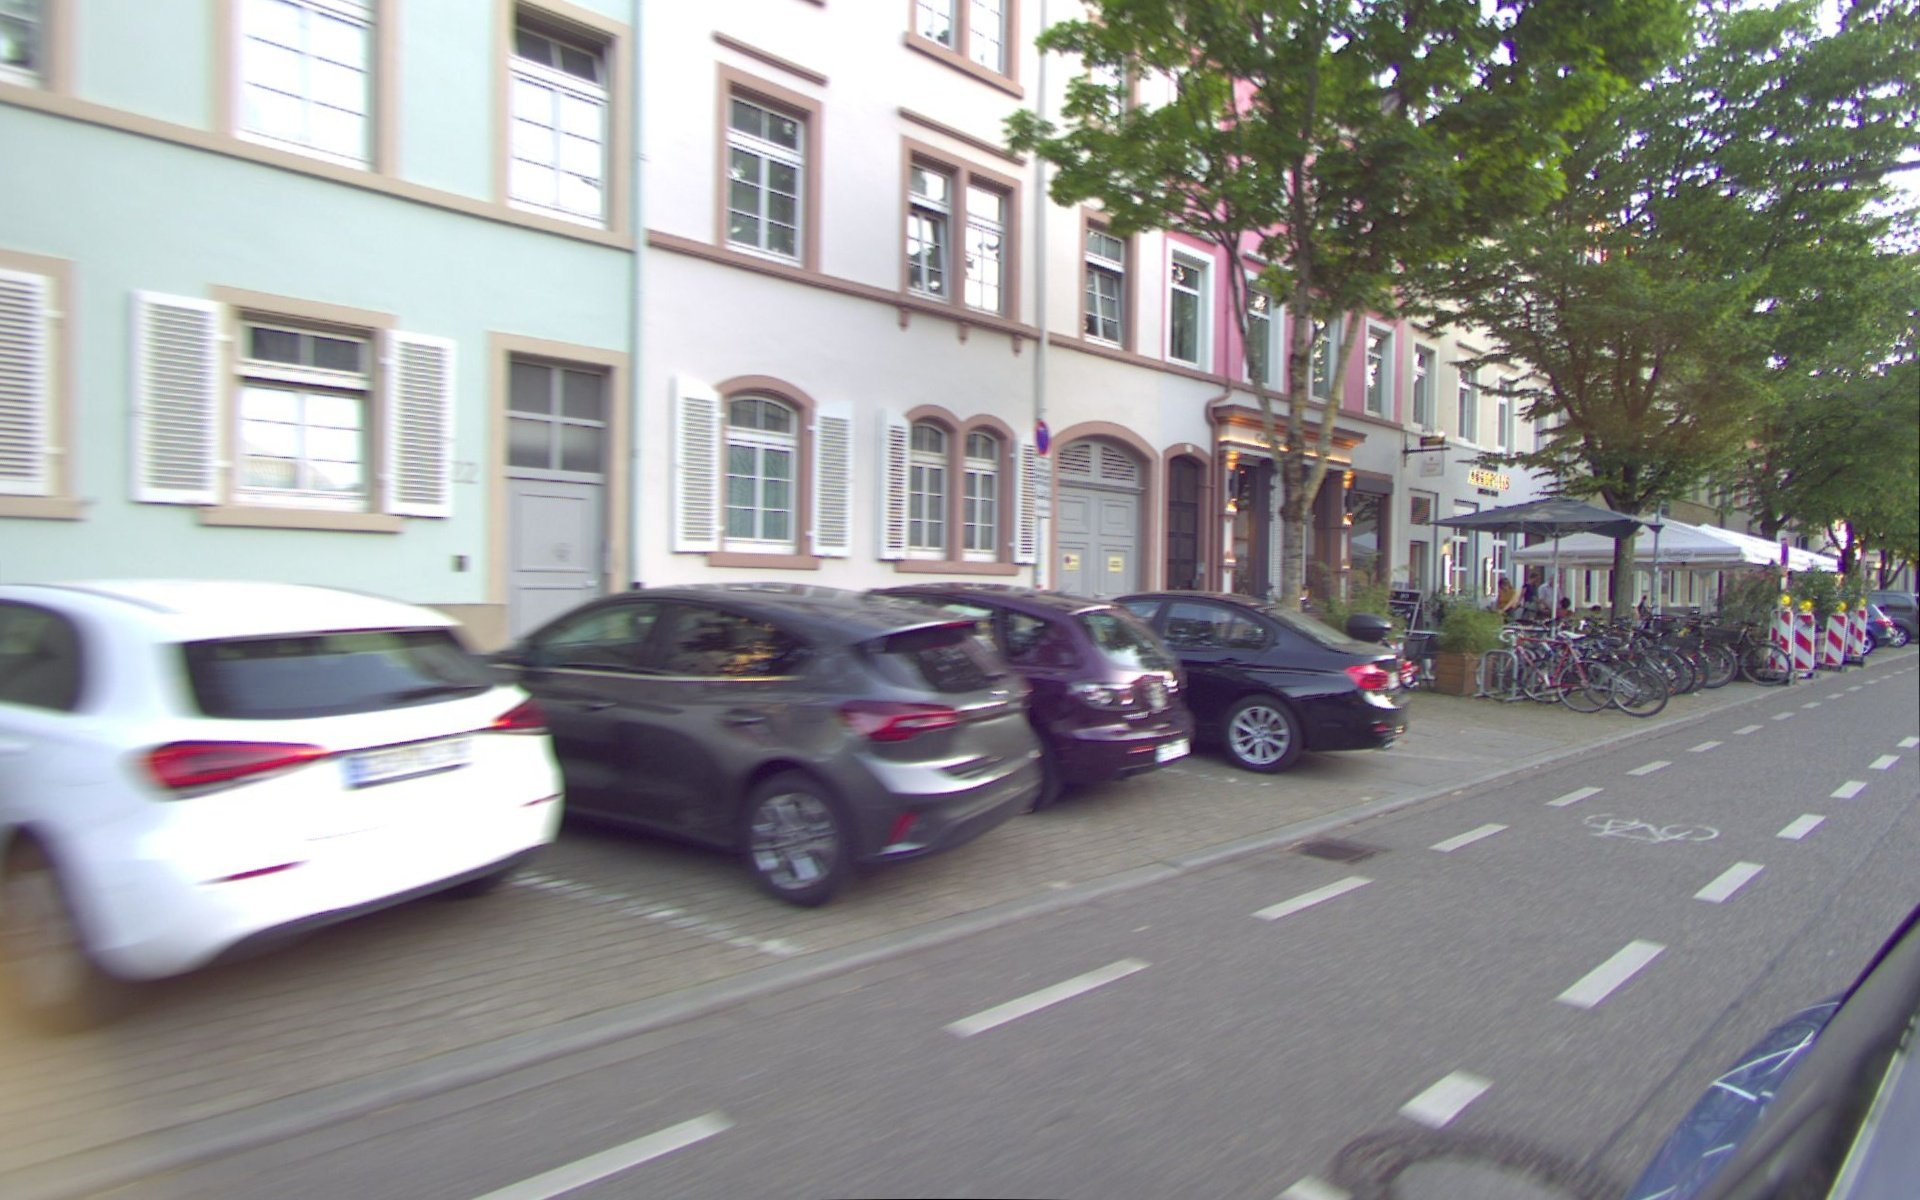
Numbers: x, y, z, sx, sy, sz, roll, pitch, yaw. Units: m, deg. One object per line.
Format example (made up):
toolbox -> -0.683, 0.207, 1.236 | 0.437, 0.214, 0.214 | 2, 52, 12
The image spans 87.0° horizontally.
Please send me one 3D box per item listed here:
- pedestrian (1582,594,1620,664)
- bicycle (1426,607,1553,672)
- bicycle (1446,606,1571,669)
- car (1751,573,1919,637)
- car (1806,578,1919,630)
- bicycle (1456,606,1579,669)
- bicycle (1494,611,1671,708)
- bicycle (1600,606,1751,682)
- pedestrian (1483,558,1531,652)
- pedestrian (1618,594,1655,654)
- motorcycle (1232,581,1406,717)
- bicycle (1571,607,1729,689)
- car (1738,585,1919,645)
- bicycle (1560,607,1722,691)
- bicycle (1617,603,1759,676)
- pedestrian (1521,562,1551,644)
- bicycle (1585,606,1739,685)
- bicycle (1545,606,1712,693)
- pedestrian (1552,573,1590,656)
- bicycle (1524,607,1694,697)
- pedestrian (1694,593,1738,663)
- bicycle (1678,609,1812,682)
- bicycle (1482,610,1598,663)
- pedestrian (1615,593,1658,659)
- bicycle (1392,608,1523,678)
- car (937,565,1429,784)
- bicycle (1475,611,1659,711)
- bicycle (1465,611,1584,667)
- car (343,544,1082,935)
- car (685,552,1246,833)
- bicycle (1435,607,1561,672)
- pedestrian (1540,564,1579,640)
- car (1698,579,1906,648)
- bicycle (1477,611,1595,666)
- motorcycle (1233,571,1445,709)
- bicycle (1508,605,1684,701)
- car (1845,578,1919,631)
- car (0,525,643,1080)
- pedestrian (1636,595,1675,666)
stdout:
pedestrian -> 12.365, 0.550, 19.518 | 0.502, 1.308, 0.590 | 0, 0, 45
bicycle -> 8.704, 0.629, 16.714 | 0.320, 0.883, 1.819 | 0, 4, -42
bicycle -> 9.305, 0.611, 17.233 | 0.320, 0.883, 1.819 | 0, 4, -42
car -> 28.636, 0.137, 32.903 | 4.112, 1.828, 1.994 | 3, 2, 22
car -> 35.250, 0.166, 38.310 | 1.973, 1.708, 4.659 | 0, 4, -41
bicycle -> 9.592, 0.623, 17.486 | 0.320, 0.883, 1.819 | 0, 4, -42
bicycle -> 8.236, 0.749, 13.463 | 0.581, 1.044, 1.866 | 0, 4, -42
bicycle -> 11.788, 0.695, 16.730 | 0.598, 1.044, 1.890 | 0, 4, -42
pedestrian -> 10.662, 0.094, 19.725 | 0.878, 1.785, 0.551 | 0, 0, -41
pedestrian -> 15.096, 0.524, 22.592 | 0.546, 1.322, 0.710 | 0, 0, 22
motorcycle -> 4.042, 0.506, 11.508 | 0.524, 1.360, 1.789 | 0, 3, -42
bicycle -> 10.748, 0.719, 15.823 | 0.598, 1.044, 1.890 | 0, 4, -42
car -> 24.901, 0.385, 29.041 | 3.751, 1.425, 1.689 | 3, 3, 29
bicycle -> 10.286, 0.702, 15.344 | 0.598, 1.044, 1.890 | 0, 4, -42
bicycle -> 12.345, 0.641, 17.210 | 0.598, 1.044, 1.819 | 0, 4, -42
pedestrian -> 12.793, 0.063, 22.468 | 0.548, 1.785, 0.843 | 0, 0, 32
bicycle -> 11.243, 0.695, 16.272 | 0.598, 1.044, 1.890 | 0, 4, -42
bicycle -> 9.741, 0.683, 14.813 | 0.598, 1.044, 1.890 | 0, 4, -42
pedestrian -> 13.372, 0.302, 22.142 | 0.551, 1.785, 0.703 | 0, 0, 45
bicycle -> 9.213, 0.707, 14.430 | 0.598, 1.044, 1.890 | 0, 4, -42
pedestrian -> 14.456, 0.521, 19.351 | 0.588, 1.308, 0.504 | 0, 0, -35
bicycle -> 13.389, 0.744, 17.291 | 0.547, 1.044, 1.682 | 0, 4, -42
bicycle -> 10.592, 0.648, 18.544 | 0.381, 0.883, 1.818 | -1, 1, -41
pedestrian -> 13.649, 0.510, 20.425 | 0.494, 1.308, 0.599 | 0, 0, -38
bicycle -> 7.785, 0.652, 15.907 | 0.320, 0.883, 1.819 | 0, 4, -42
car -> 2.028, 0.513, 9.553 | 4.143, 1.443, 1.804 | 5, 3, 31
bicycle -> 7.794, 0.742, 13.078 | 0.524, 1.044, 1.907 | 0, 4, -42
bicycle -> 9.898, 0.662, 17.799 | 0.320, 0.883, 1.818 | -1, 1, -42
car -> -1.536, 0.523, 6.045 | 4.091, 1.488, 1.807 | 4, 3, 27
car -> -0.040, 0.484, 7.930 | 3.936, 1.488, 1.977 | 5, 4, 34
bicycle -> 8.998, 0.635, 16.988 | 0.320, 0.883, 1.819 | 0, 4, -42
pedestrian -> 14.282, 0.047, 24.134 | 0.696, 1.785, 0.710 | 0, 0, 22
car -> 22.652, 0.307, 27.434 | 3.932, 1.572, 1.692 | 3, 3, 25
bicycle -> 10.222, 0.657, 18.024 | 0.320, 0.883, 1.818 | -1, 1, -42
motorcycle -> 4.639, 0.425, 12.534 | 0.951, 1.479, 2.226 | 0, 3, -42
bicycle -> 8.713, 0.685, 13.939 | 0.663, 1.080, 1.890 | 0, 4, -42
car -> 34.300, 0.232, 35.578 | 4.652, 1.708, 1.976 | 5, 4, 44
car -> -3.734, 0.468, 4.668 | 4.088, 1.488, 1.970 | 4, 3, 25
pedestrian -> 13.003, 0.557, 18.914 | 0.502, 1.308, 0.590 | 0, 0, 45
